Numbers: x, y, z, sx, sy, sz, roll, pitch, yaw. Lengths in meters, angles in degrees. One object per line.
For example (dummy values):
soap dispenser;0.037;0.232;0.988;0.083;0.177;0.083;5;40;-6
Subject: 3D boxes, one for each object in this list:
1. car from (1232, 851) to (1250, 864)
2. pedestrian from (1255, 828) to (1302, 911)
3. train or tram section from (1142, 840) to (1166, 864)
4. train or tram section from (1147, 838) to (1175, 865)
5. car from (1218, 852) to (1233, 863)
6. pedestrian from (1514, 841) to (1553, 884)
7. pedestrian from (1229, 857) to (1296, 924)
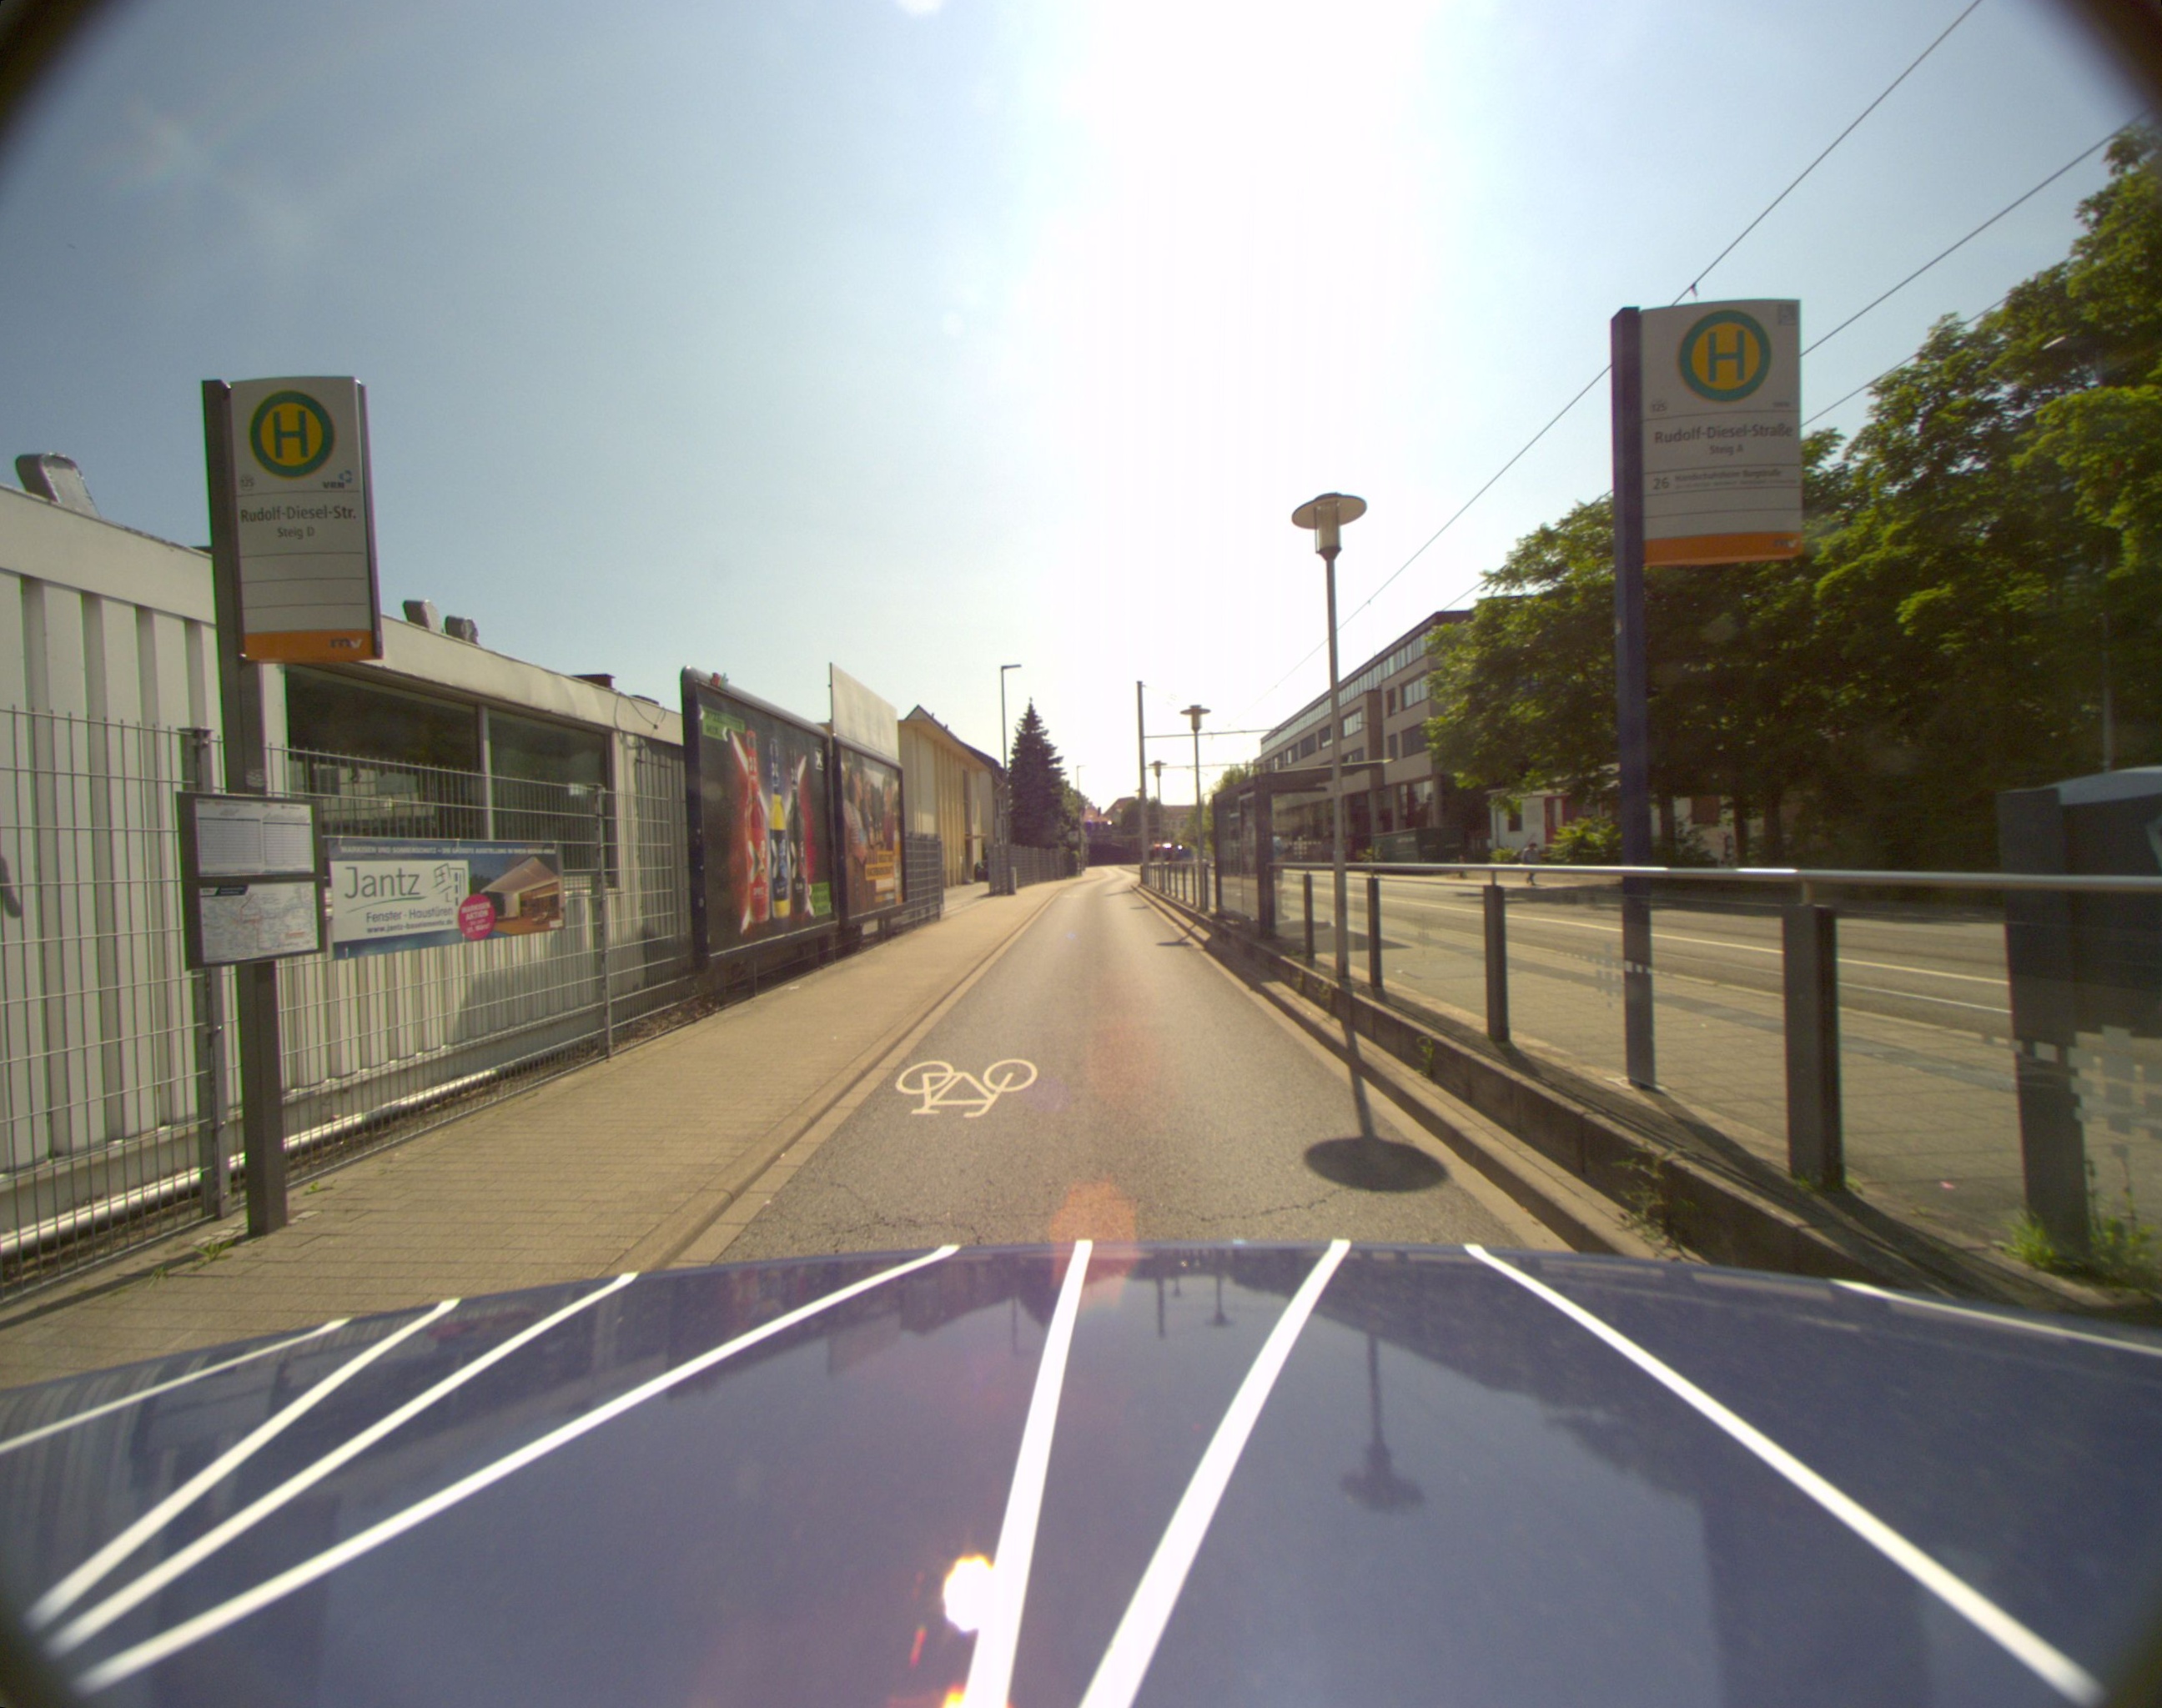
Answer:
car;20.870;0.421;99.259;1.997;1.613;4.003;-1;0;8
pedestrian;4.263;0.324;16.450;0.725;1.714;0.945;-3;0;1
train or tram section;11.368;-0.247;119.695;2.680;3.464;13.390;-2;0;1
train or tram section;11.159;-0.281;106.854;2.680;3.464;12.328;-2;0;1
car;20.308;0.482;106.789;1.870;1.608;4.003;-1;0;8
pedestrian;16.545;0.316;27.810;0.873;1.518;0.846;-2;0;0
pedestrian;3.151;0.627;13.240;0.945;1.092;0.726;-3;0;1
